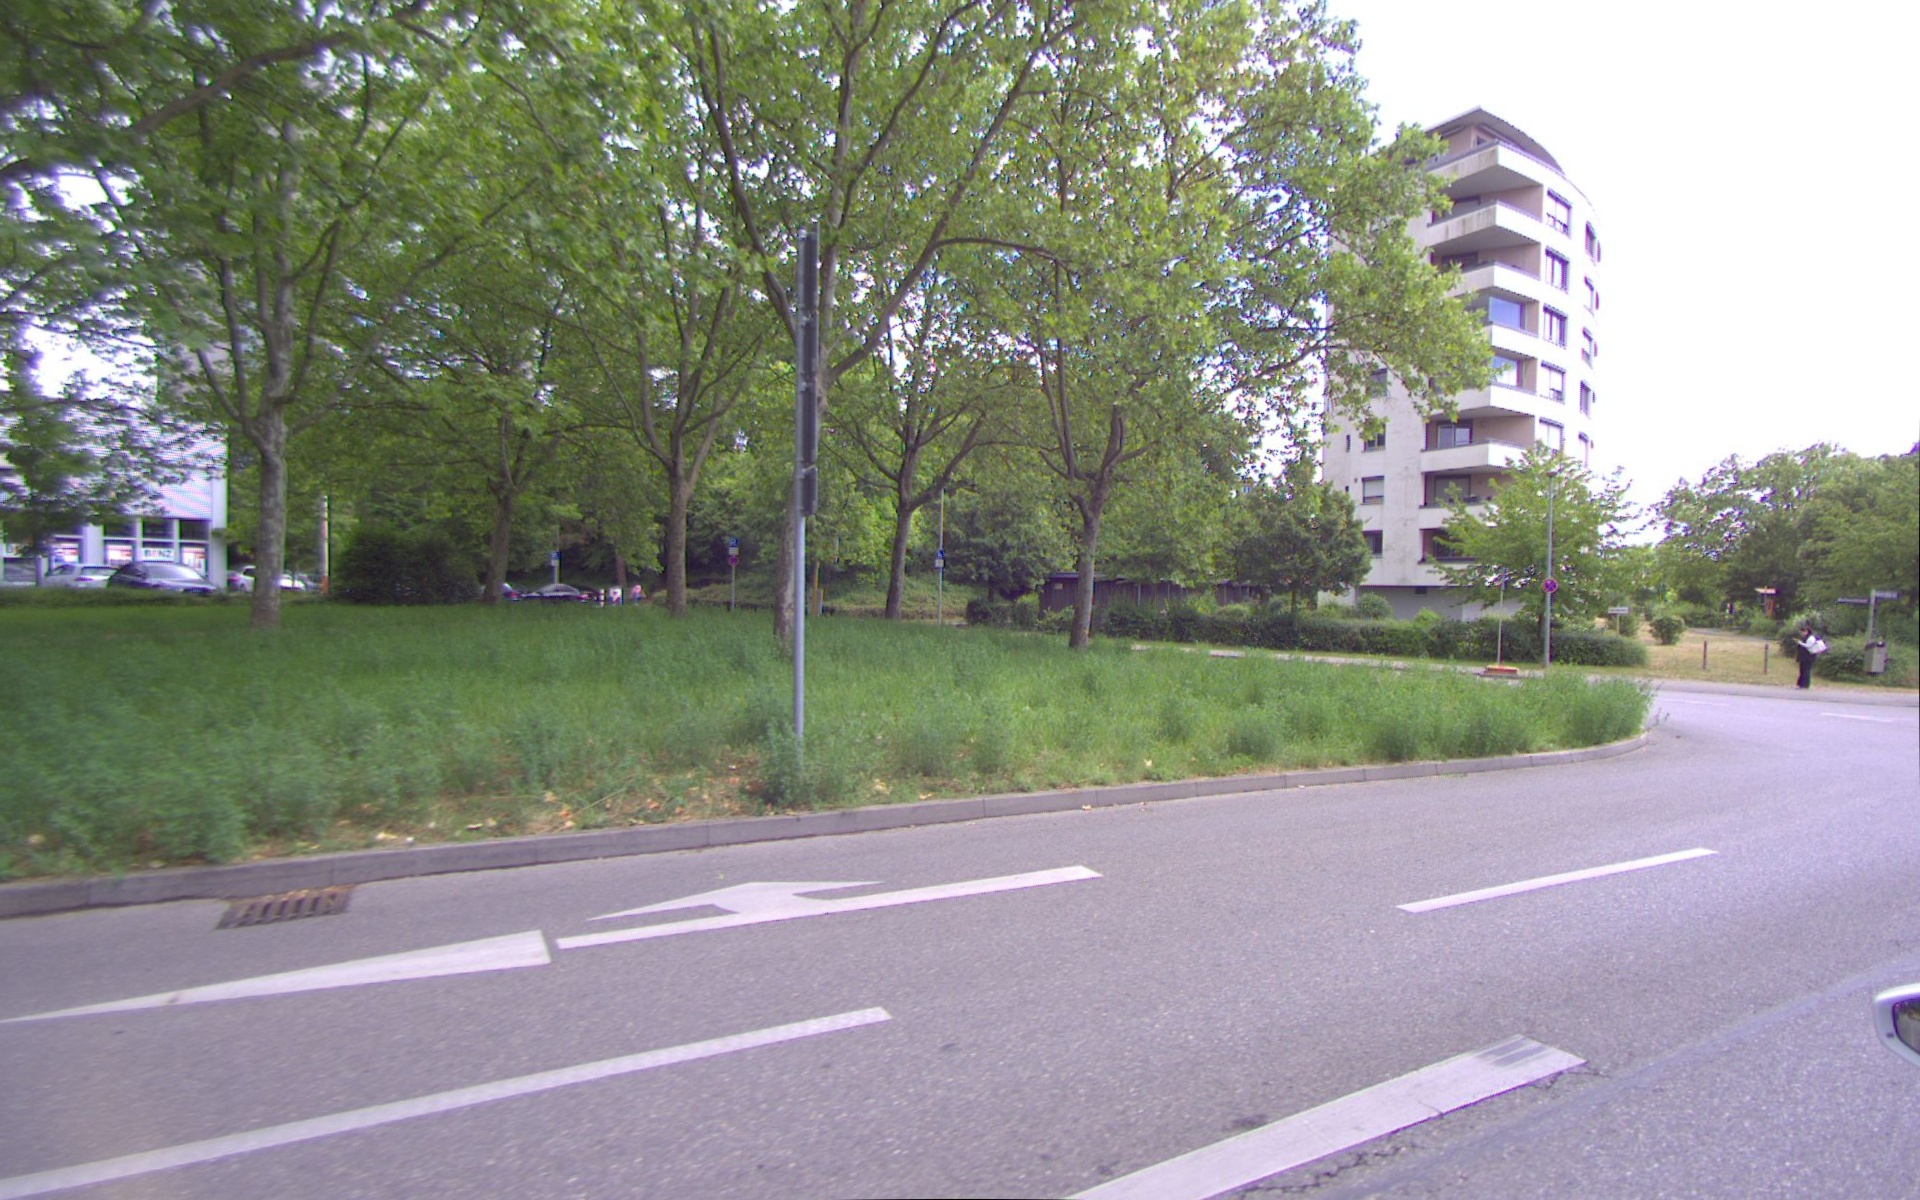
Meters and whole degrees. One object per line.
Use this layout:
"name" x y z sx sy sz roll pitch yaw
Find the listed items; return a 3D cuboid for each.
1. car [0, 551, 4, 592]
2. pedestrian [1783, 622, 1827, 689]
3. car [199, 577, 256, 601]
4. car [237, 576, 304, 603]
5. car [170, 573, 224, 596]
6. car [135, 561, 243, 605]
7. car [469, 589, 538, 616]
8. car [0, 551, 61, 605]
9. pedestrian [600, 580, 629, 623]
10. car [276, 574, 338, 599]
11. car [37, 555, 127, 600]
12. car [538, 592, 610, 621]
"car" -35.615 -1.004 35.811 3.350 1.423 1.481 0 0 33
"pedestrian" 22.699 1.477 27.007 0.809 1.746 0.774 1 1 35
"car" -48.483 -0.723 66.492 3.930 1.503 1.734 0 0 32
"car" -39.471 -0.602 57.486 3.930 1.503 1.734 0 0 32
"car" -53.294 -1.072 70.114 3.930 1.503 1.734 0 0 32
"car" -24.321 -0.529 31.663 3.192 1.272 1.691 2 0 32
"car" -23.846 0.130 52.429 3.251 1.339 1.598 2 0 28
"car" -27.895 -0.611 29.337 3.825 1.485 1.481 0 0 33
"pedestrian" -16.395 0.080 47.681 0.967 1.976 1.084 2 0 -3
"car" -40.698 -0.808 62.585 3.930 1.503 1.734 0 0 32
"car" -33.655 -0.874 38.482 3.756 1.656 1.668 2 1 33
"car" -19.206 0.316 49.972 3.251 1.339 1.598 2 0 28
